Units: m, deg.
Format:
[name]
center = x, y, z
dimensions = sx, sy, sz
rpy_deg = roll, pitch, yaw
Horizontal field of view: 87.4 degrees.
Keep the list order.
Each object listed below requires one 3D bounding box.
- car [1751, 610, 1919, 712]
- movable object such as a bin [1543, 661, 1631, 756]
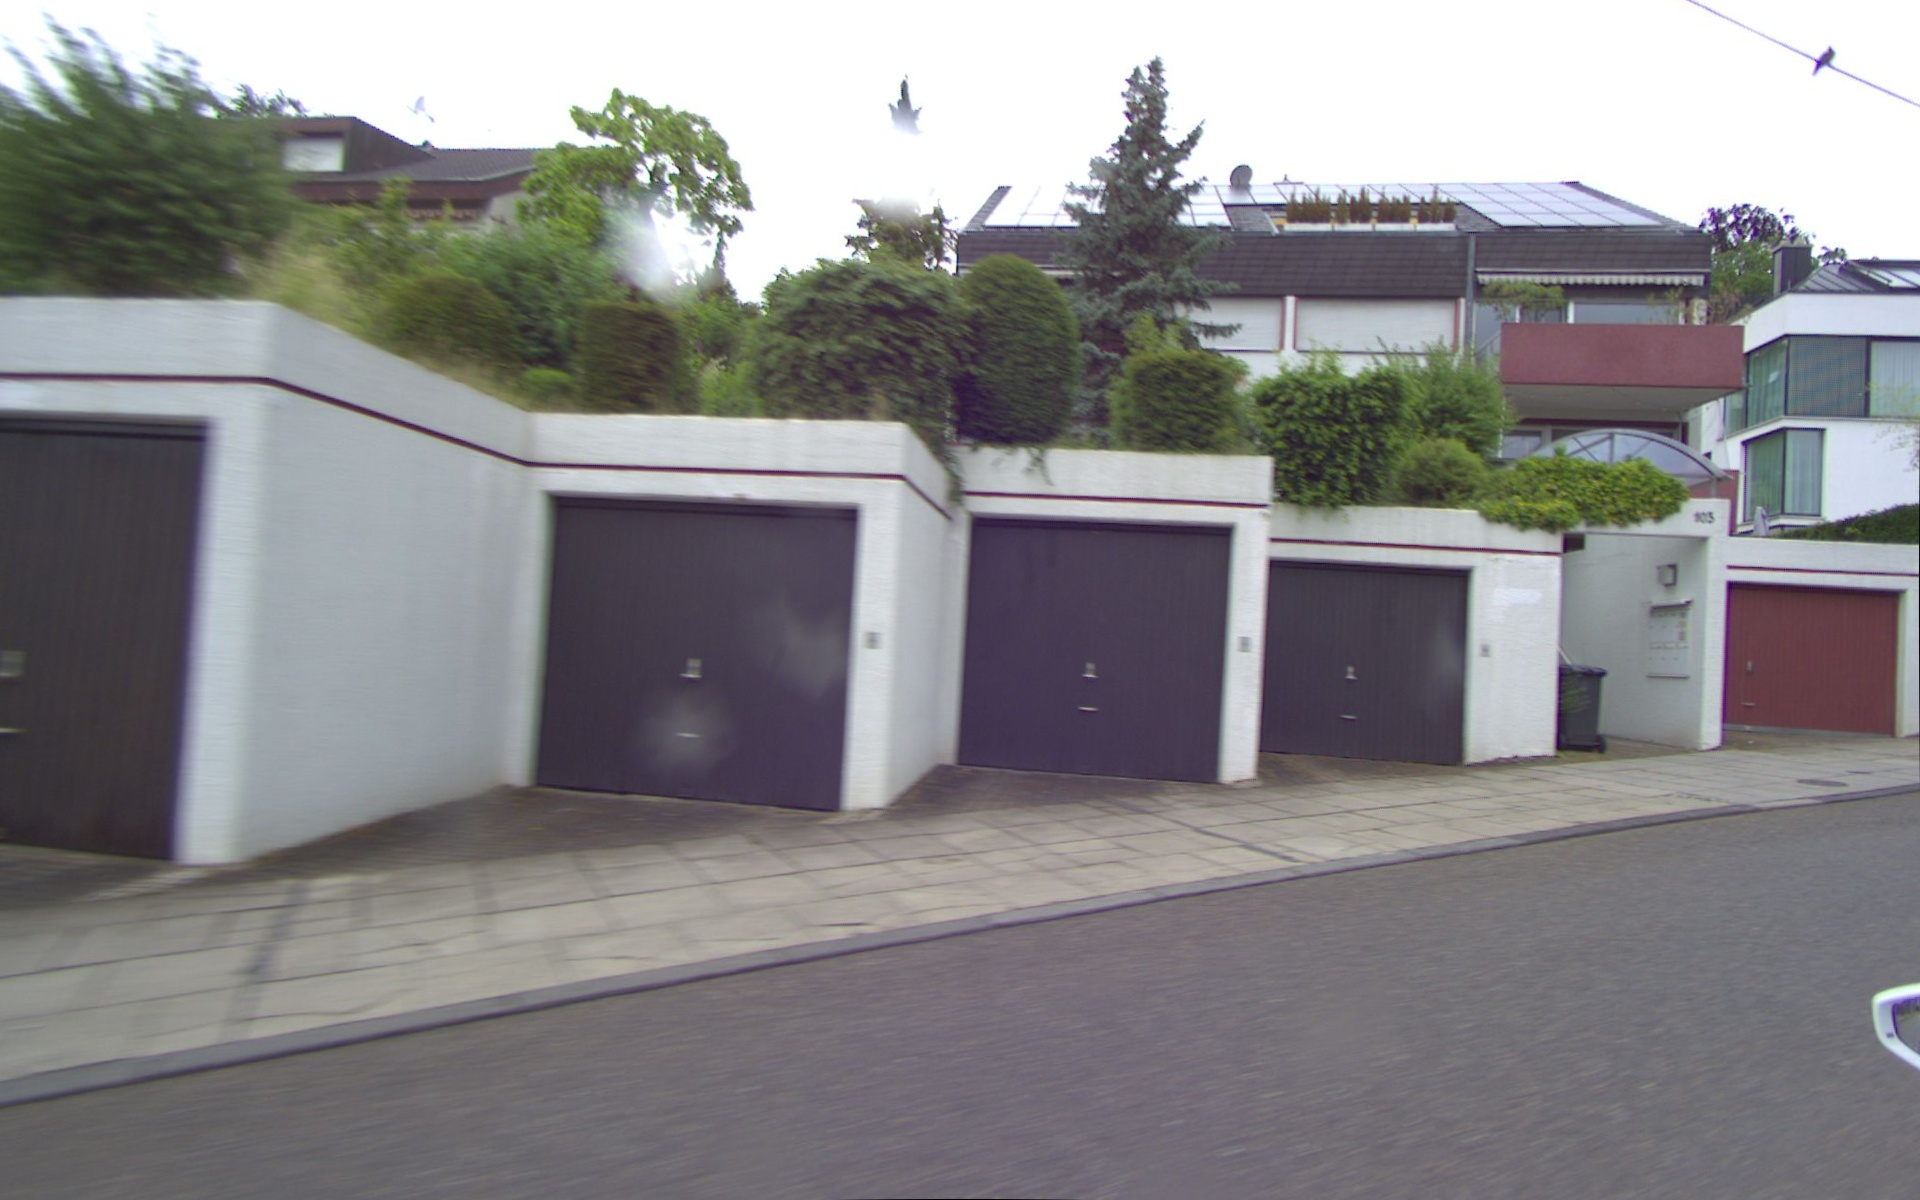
[car]
center = 16.272, 1.005, 17.830
dimensions = 1.732, 1.498, 3.933
rpy_deg = 1, 1, 9
[movable object such as a bin]
center = 6.935, 1.190, 11.132
dimensions = 0.633, 0.976, 0.544
rpy_deg = 1, 1, 6
